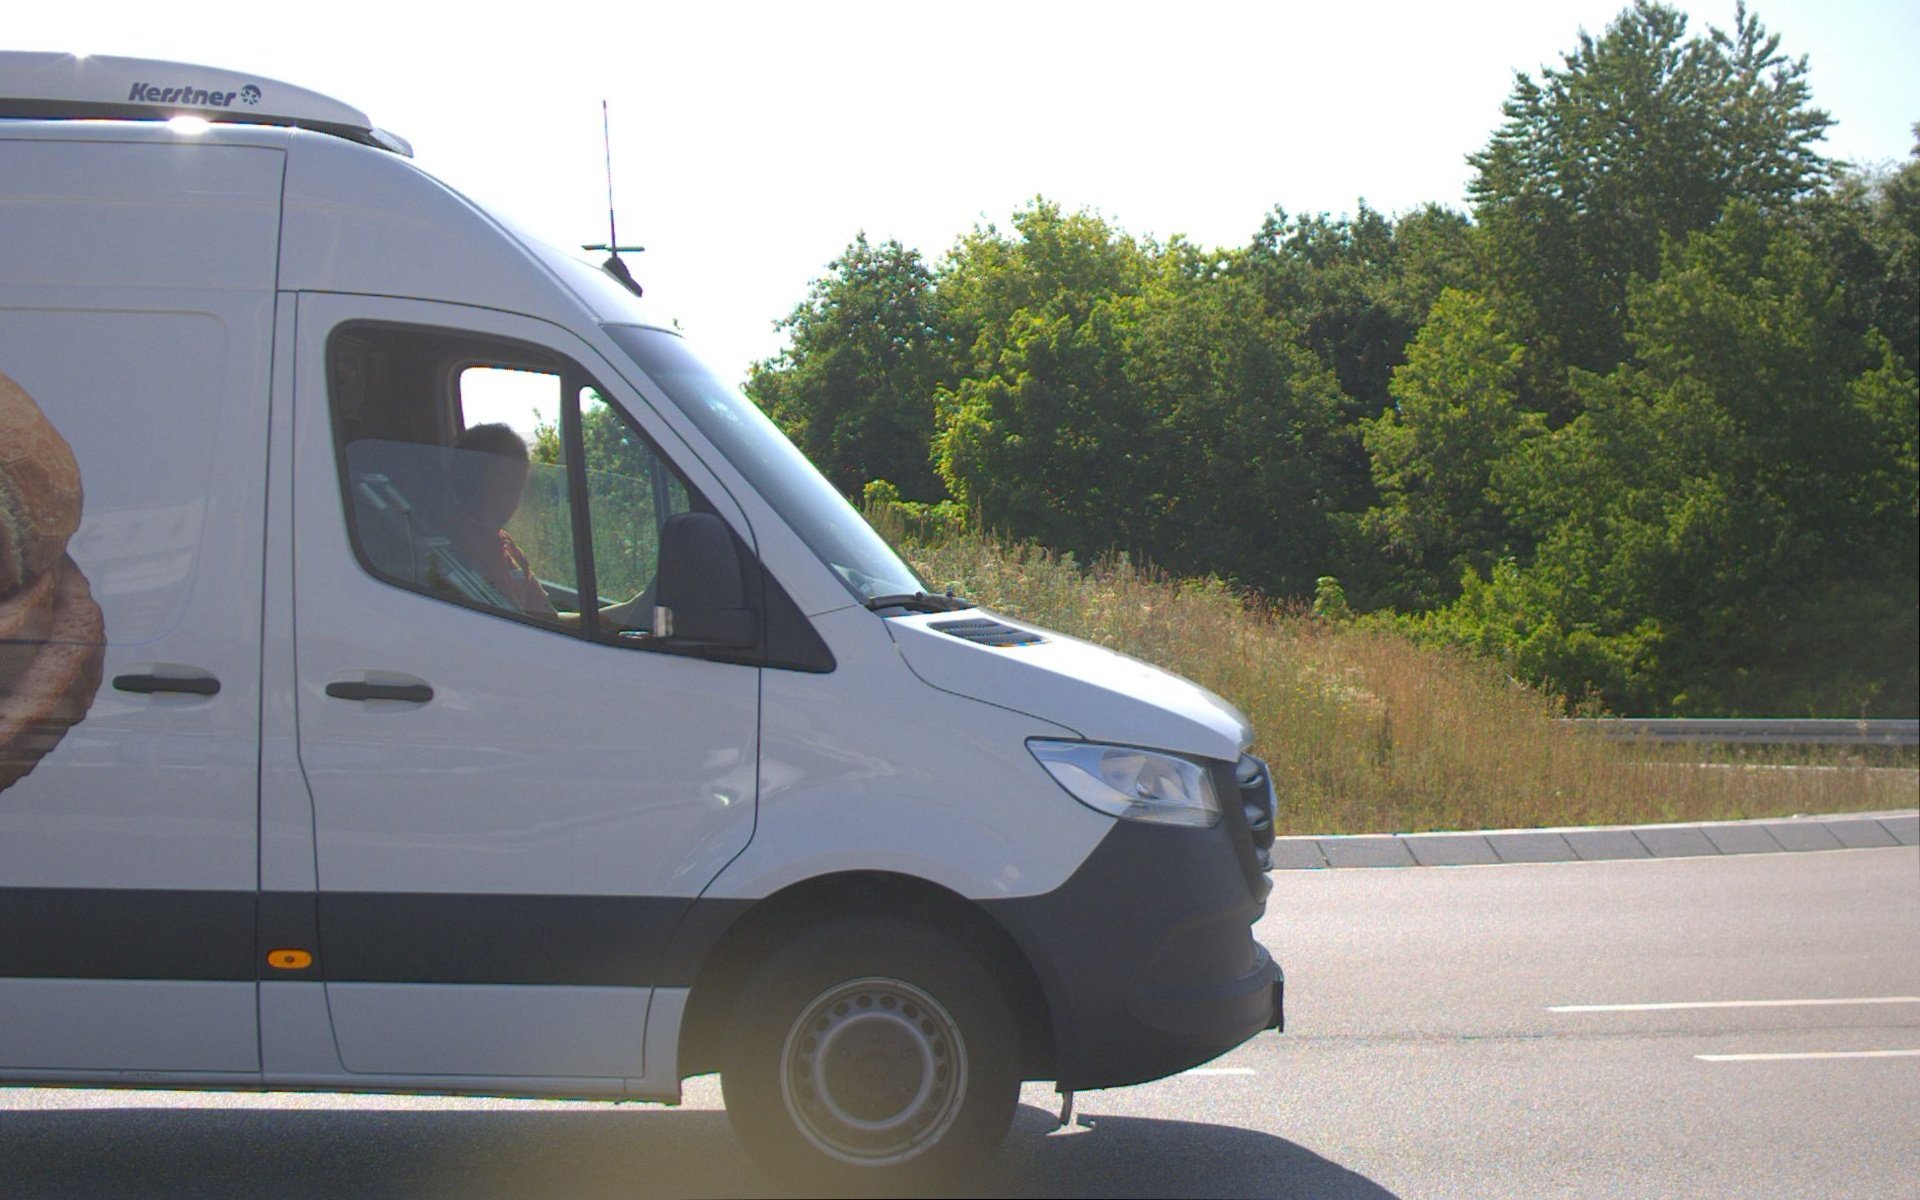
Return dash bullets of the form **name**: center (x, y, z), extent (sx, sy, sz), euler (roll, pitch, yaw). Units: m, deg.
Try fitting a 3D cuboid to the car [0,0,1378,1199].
- **car**: center (-2.132, -0.071, 8.777), extent (6.118, 2.911, 2.084), euler (1, 0, 1)
